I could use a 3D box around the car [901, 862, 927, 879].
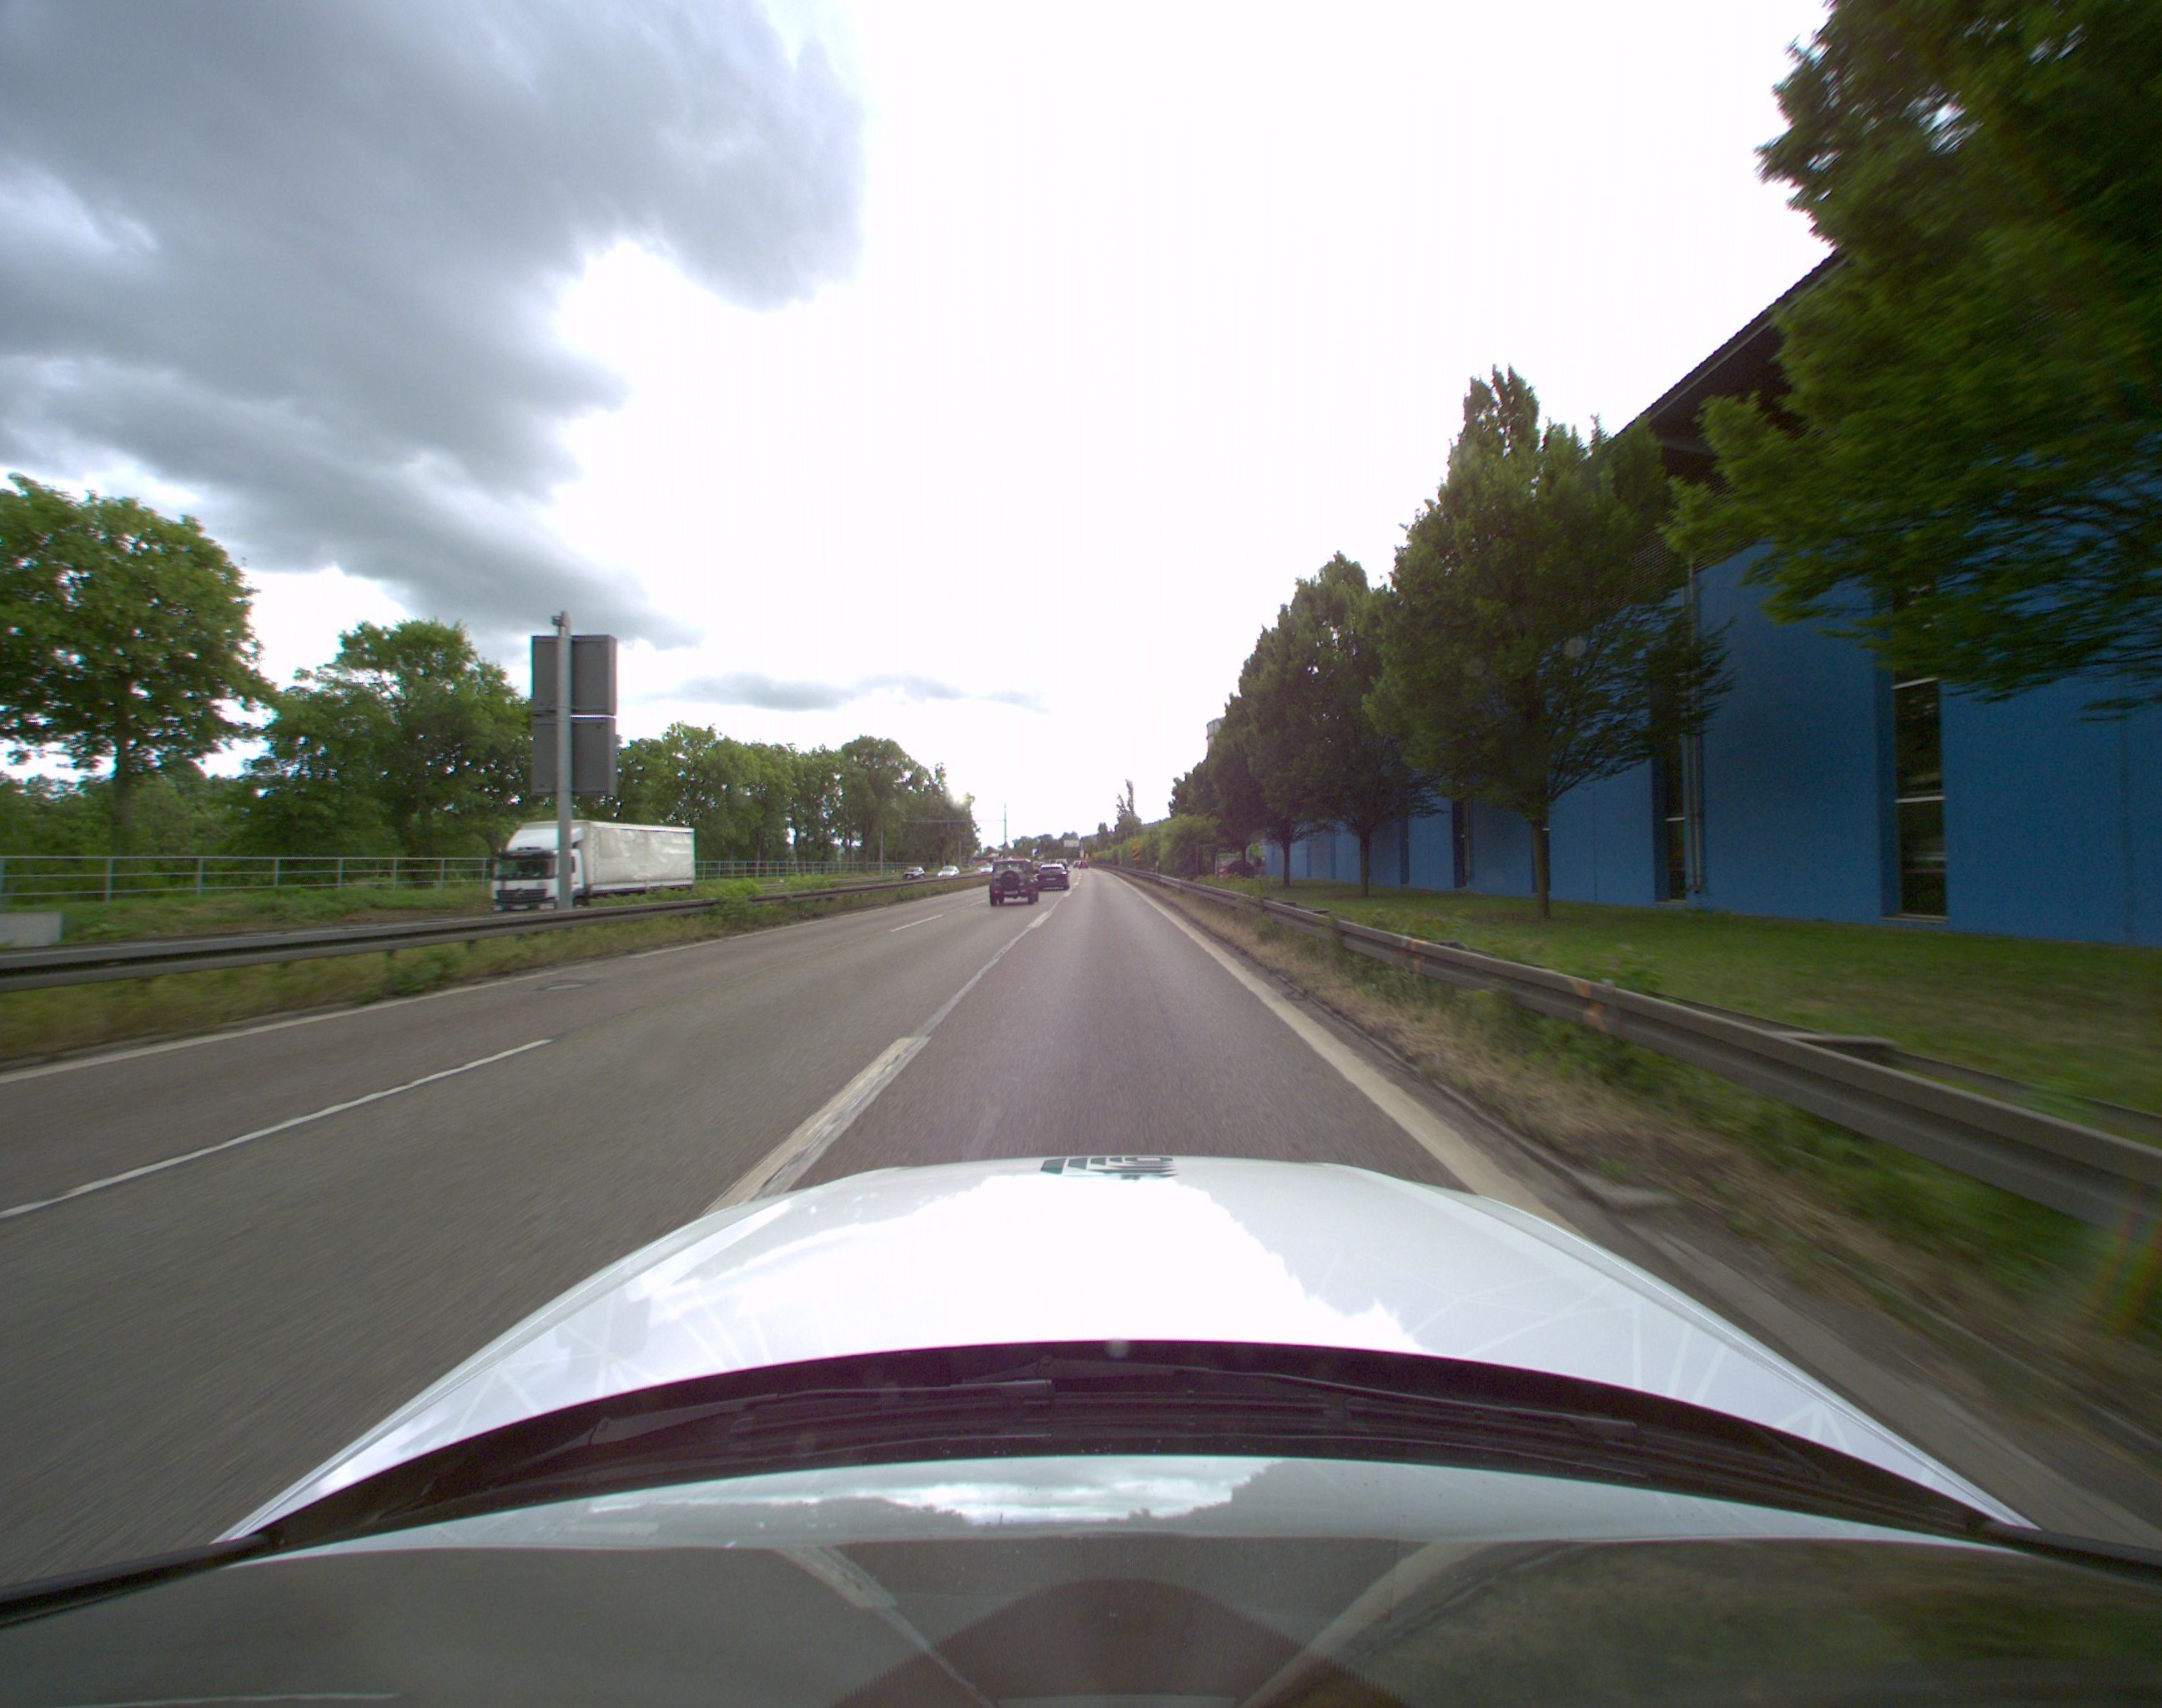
[{"bbox_3d":[-17.623,1.732,85.847,1.720,1.605,4.043,-3,0,1],"label":"car"}]

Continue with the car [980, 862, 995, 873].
[{"bbox_3d":[-14.871,2.117,129.781,1.860,1.674,4.718,-2,0,0],"label":"car"}]

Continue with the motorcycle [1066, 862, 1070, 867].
[{"bbox_3d":[-3.481,2.701,213.910,0.790,1.219,2.324,0,0,-6],"label":"motorcycle"}]

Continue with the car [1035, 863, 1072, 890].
[{"bbox_3d":[-1.487,1.246,46.073,1.839,1.423,4.900,-1,0,0],"label":"car"}]

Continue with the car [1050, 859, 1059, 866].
[{"bbox_3d":[-7.277,2.368,225.864,2.012,1.934,4.887,-2,-1,-8],"label":"car"}]

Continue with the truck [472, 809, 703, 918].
[{"bbox_3d":[-18.847,0.371,32.197,2.877,3.579,9.593,-1,-1,3],"label":"truck"}]

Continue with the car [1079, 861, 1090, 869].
[{"bbox_3d":[0.638,1.997,152.697,1.969,1.423,4.897,-2,-1,-2],"label":"car"}]

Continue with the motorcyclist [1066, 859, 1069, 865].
[{"bbox_3d":[-3.485,2.103,213.877,0.790,1.760,0.921,0,0,-7],"label":"motorcyclist"}]

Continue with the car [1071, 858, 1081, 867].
[{"bbox_3d":[-1.095,1.886,175.722,1.695,1.742,4.385,-1,-1,-5],"label":"car"}]

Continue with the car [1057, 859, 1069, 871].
[{"bbox_3d":[-2.757,1.620,124.183,1.692,1.742,4.000,-1,-1,1],"label":"car"}]

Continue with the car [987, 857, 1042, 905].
[{"bbox_3d":[-2.500,0.984,31.512,1.692,1.686,4.000,-2,0,0],"label":"car"}]

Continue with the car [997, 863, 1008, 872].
[{"bbox_3d":[-16.002,2.789,165.405,1.720,1.775,3.742,-2,-1,1],"label":"car"}]

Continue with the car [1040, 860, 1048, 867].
[{"bbox_3d":[-9.472,2.477,208.987,1.695,1.742,4.385,-2,0,-5],"label":"car"}]

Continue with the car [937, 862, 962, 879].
[{"bbox_3d":[-13.997,1.756,86.826,1.691,1.605,4.540,-3,0,1],"label":"car"}]

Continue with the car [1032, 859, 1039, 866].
[{"bbox_3d":[-14.129,2.590,251.815,2.011,1.934,4.889,-2,-1,-6],"label":"car"}]
